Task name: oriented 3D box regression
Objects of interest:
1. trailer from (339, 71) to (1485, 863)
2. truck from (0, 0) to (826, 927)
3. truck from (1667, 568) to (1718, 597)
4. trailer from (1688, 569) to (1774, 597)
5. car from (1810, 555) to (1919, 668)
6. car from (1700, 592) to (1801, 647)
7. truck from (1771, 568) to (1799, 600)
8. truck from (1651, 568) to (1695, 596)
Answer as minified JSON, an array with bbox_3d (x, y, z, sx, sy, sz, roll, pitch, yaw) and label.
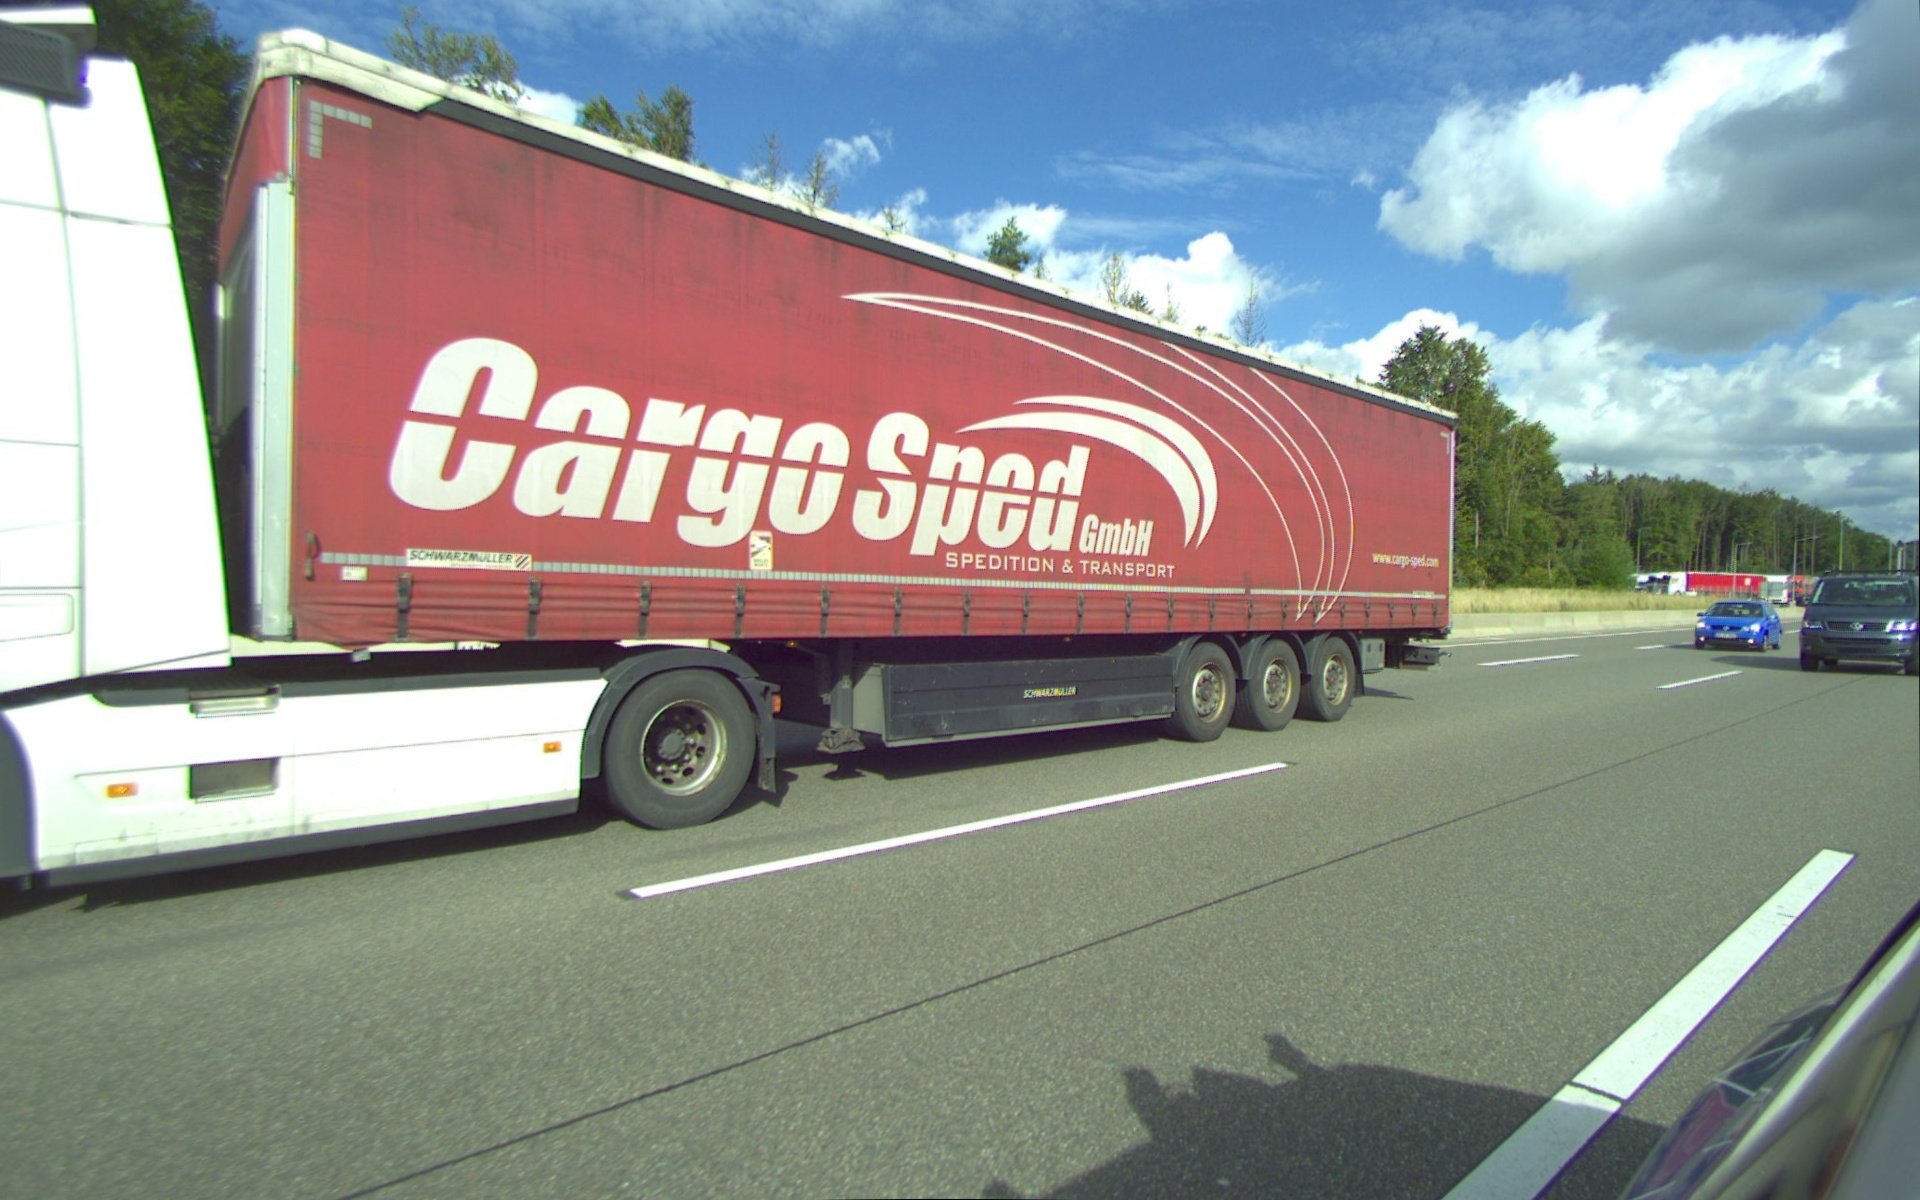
[{"bbox_3d":[1.444,-0.710,10.786,13.476,4.096,2.778,0,0,-42],"label":"trailer"},{"bbox_3d":[-3.939,-0.740,5.925,5.673,4.096,2.778,0,0,-42],"label":"truck"},{"bbox_3d":[118.931,-2.875,164.300,5.987,4.564,2.878,1,0,4],"label":"truck"},{"bbox_3d":[124.799,-2.743,163.854,11.181,4.429,2.842,1,0,5],"label":"trailer"},{"bbox_3d":[19.543,0.209,21.351,4.848,2.136,1.851,0,0,-42],"label":"car"},{"bbox_3d":[22.997,0.518,29.385,3.931,1.460,1.652,0,1,-42],"label":"car"},{"bbox_3d":[119.679,-2.316,146.713,2.869,4.563,7.071,2,2,41],"label":"truck"},{"bbox_3d":[118.486,-2.964,168.183,5.029,4.564,2.895,1,1,4],"label":"truck"}]
